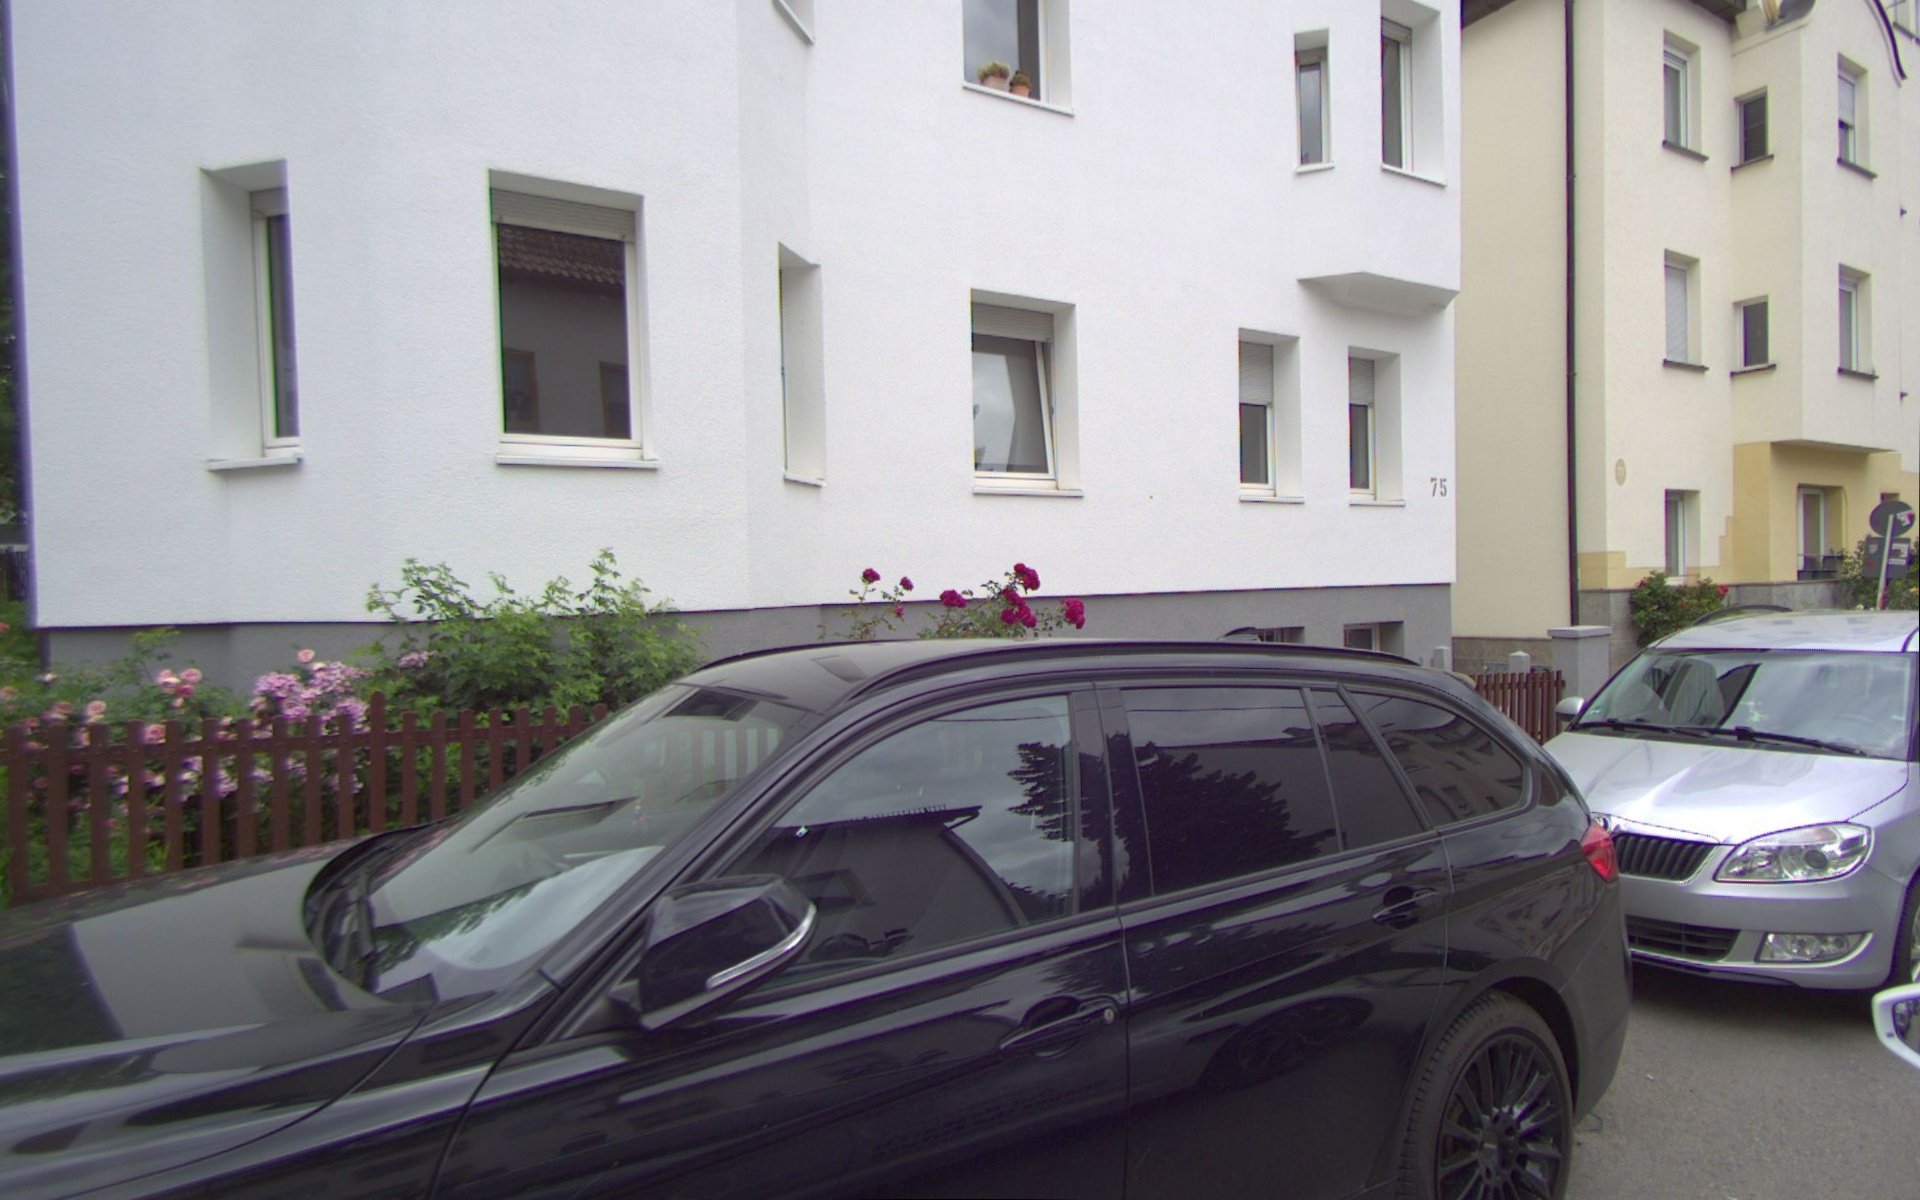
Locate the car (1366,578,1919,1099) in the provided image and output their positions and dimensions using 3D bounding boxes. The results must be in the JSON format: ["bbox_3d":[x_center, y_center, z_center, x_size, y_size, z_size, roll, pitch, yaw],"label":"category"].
[{"bbox_3d":[4.183,0.780,5.114,4.239,1.653,1.835,1,-1,-33],"label":"car"}]

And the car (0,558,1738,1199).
[{"bbox_3d":[-0.280,0.746,2.359,4.452,1.476,1.836,1,-2,-31],"label":"car"}]
